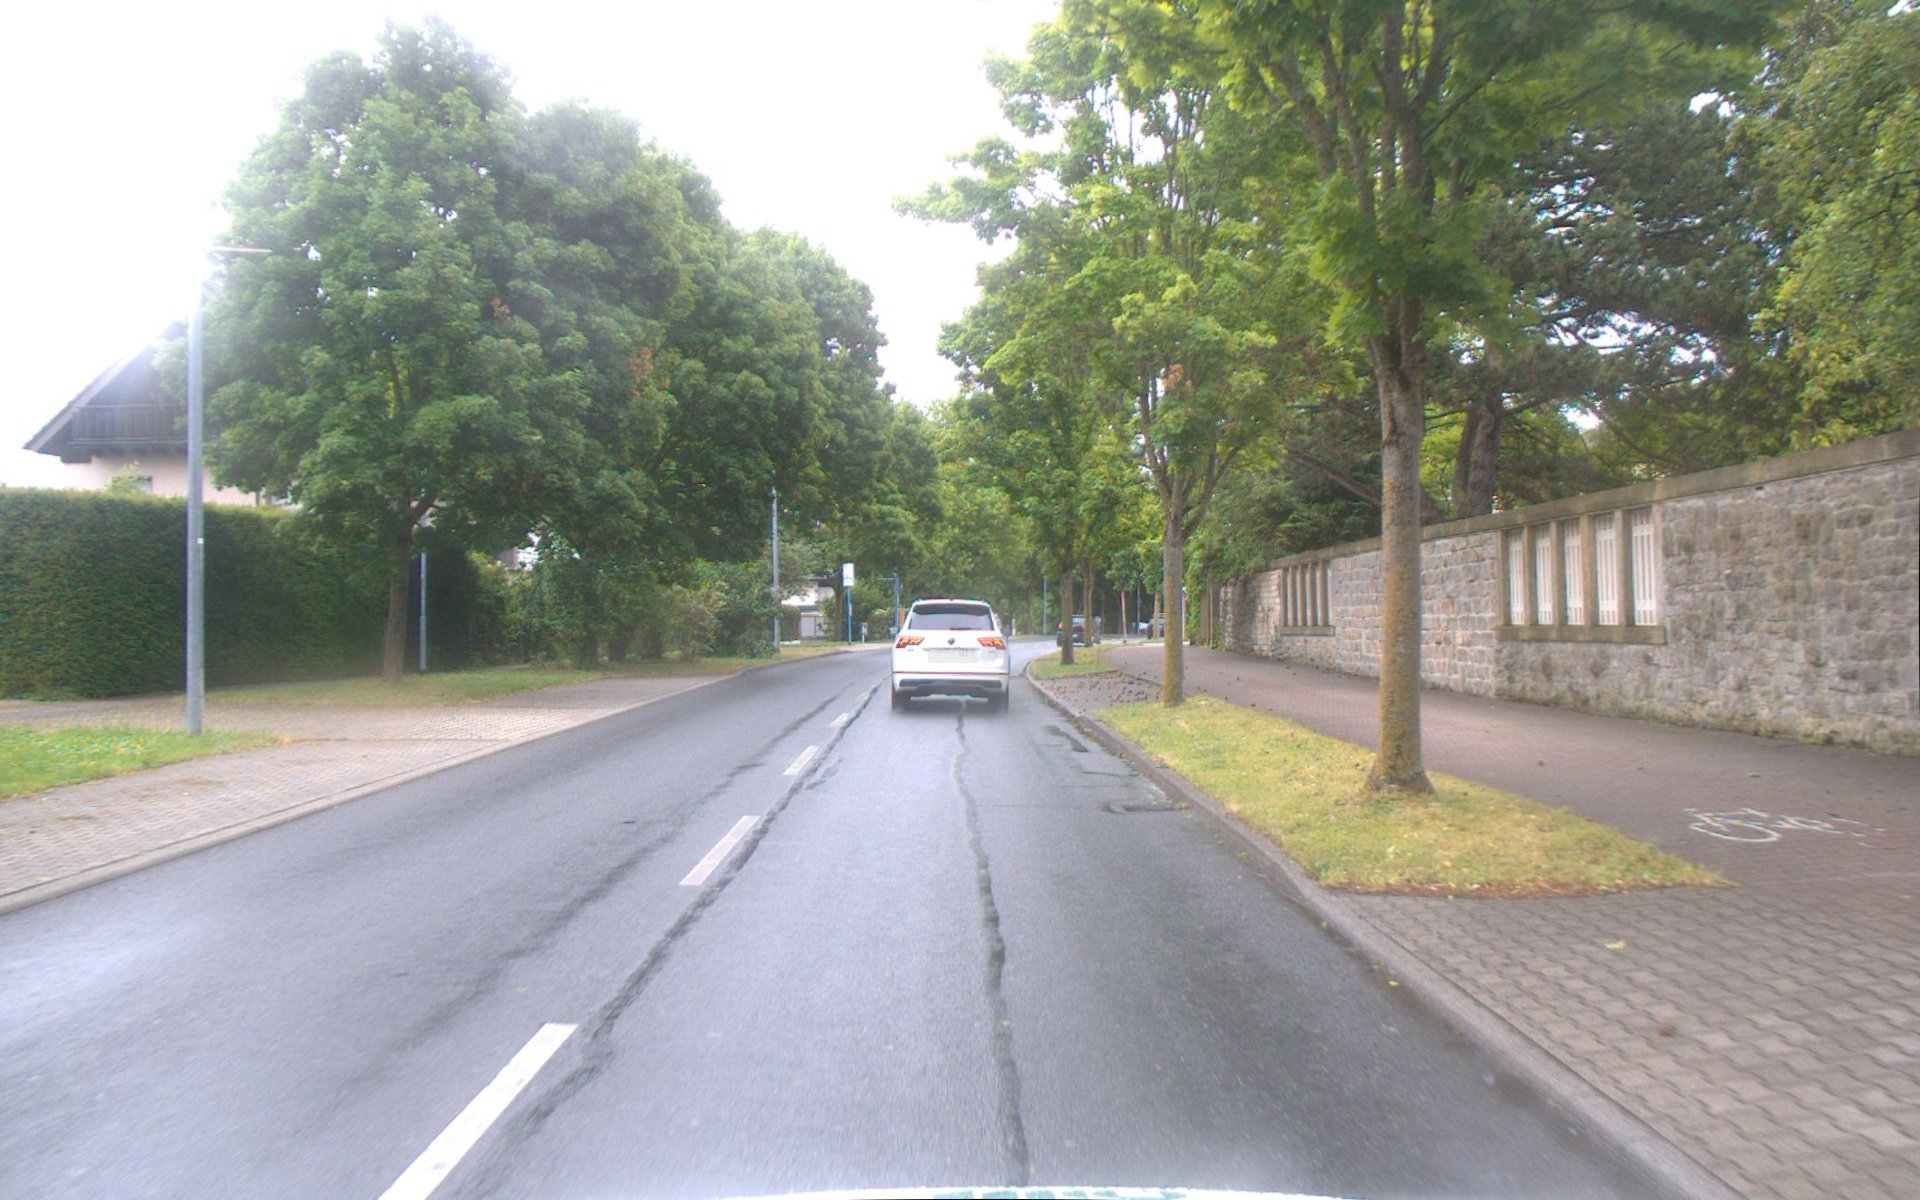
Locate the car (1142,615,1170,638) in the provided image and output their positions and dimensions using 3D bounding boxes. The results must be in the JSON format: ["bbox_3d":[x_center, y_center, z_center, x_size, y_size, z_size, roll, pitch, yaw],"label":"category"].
[{"bbox_3d":[13.531,1.857,114.151,1.801,1.513,4.003,-2,-2,8],"label":"car"}]

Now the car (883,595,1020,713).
[{"bbox_3d":[-0.183,0.782,26.122,1.956,1.660,3.999,2,0,-2],"label":"car"}]

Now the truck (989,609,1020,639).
[{"bbox_3d":[4.148,2.236,152.285,2.236,2.643,5.878,-1,-1,8],"label":"truck"}]

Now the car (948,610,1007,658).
[{"bbox_3d":[0.642,1.180,56.784,1.802,1.513,4.001,-2,-2,3],"label":"car"}]

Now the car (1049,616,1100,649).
[{"bbox_3d":[5.556,1.556,79.723,1.801,1.513,4.003,2,0,13],"label":"car"}]
